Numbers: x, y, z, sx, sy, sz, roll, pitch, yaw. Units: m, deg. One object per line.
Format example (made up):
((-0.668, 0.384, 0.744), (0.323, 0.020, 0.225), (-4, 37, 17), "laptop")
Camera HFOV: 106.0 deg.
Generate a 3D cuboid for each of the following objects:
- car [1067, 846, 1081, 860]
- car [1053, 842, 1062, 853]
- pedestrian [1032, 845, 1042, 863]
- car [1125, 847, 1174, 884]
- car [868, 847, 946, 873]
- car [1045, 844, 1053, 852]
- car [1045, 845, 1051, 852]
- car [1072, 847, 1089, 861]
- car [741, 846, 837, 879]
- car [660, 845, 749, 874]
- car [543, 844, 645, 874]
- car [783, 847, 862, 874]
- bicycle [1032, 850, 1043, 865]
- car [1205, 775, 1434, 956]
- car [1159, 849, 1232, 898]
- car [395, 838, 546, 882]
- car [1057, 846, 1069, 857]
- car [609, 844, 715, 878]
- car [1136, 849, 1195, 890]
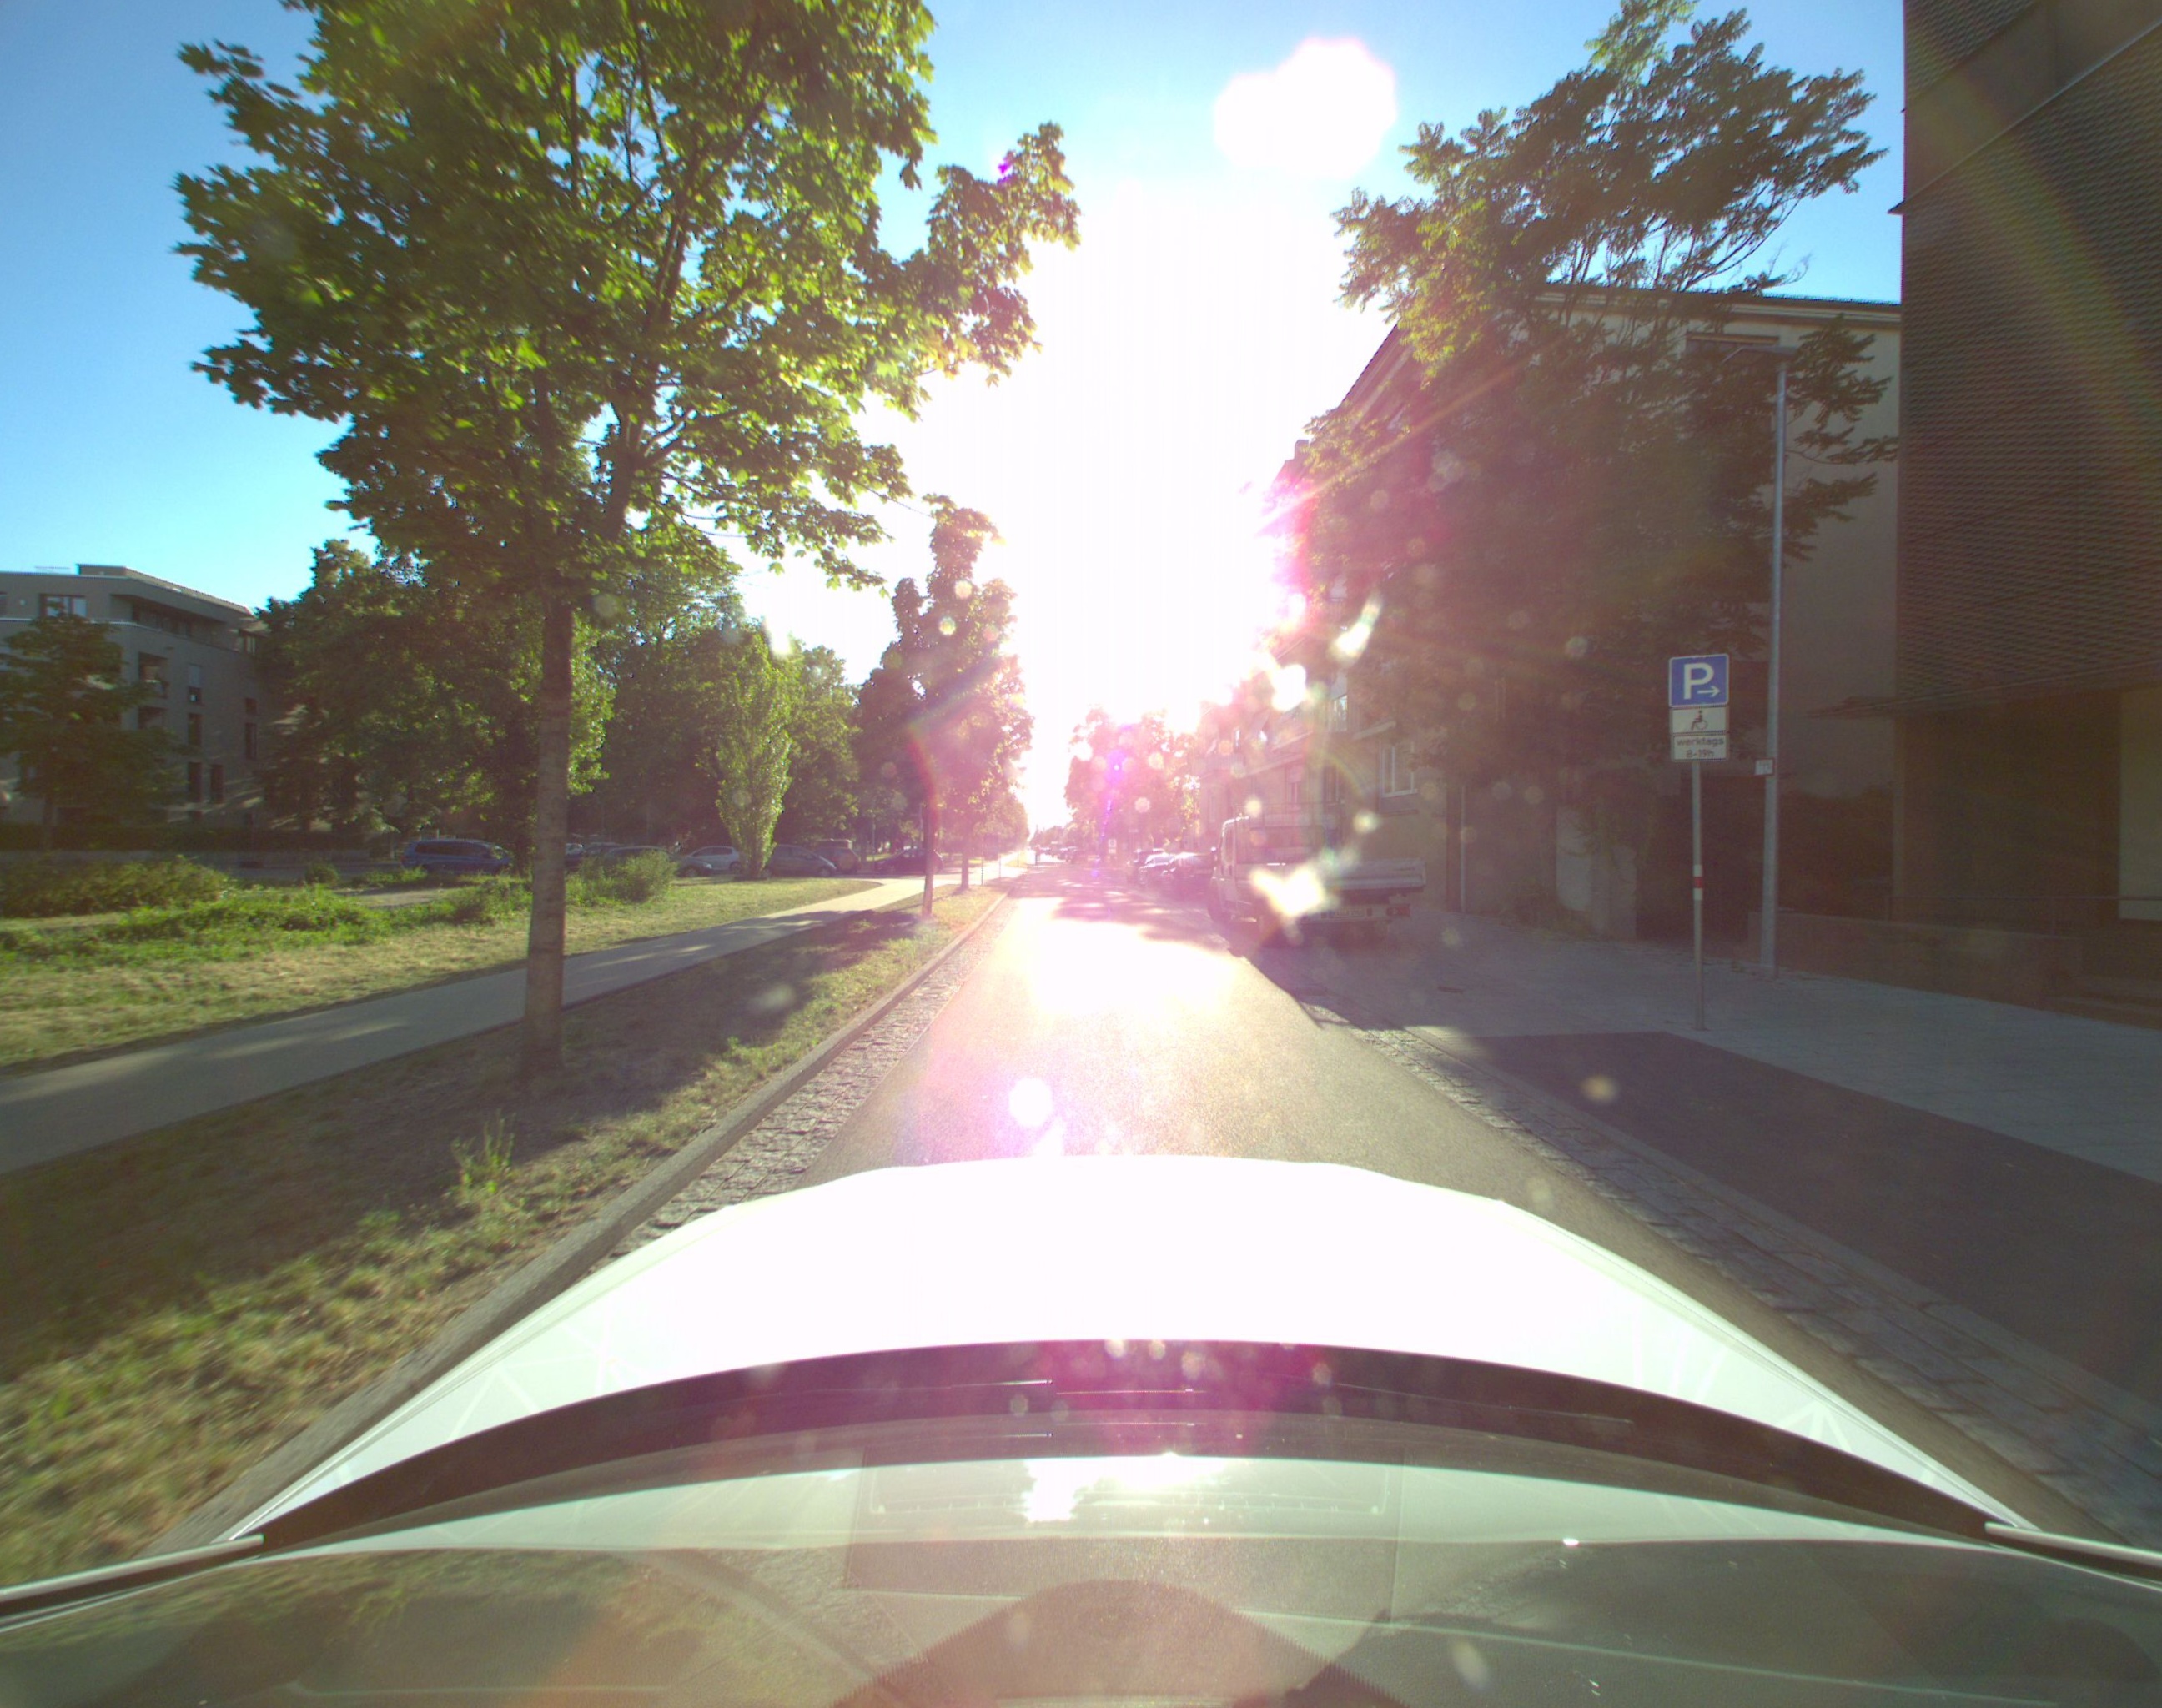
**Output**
((-0.930, -0.169, 103.917), (1.788, 1.724, 3.998), (0, 1, -1), "car")
((-4.510, -1.235, 156.239), (1.788, 1.999, 3.998), (0, 1, -1), "car")
((-3.611, -0.023, 66.701), (0.686, 1.434, 1.025), (0, 0, 1), "pedestrian")
((3.016, 0.466, 36.732), (1.687, 1.565, 4.100), (-1, 1, -3), "car")
((-9.818, 0.331, 46.076), (4.011, 1.420, 1.755), (0, 1, -29), "car")
((-7.820, -1.458, 197.795), (1.988, 1.969, 3.997), (1, 0, -2), "car")
((-10.093, -1.733, 249.695), (1.988, 1.969, 3.997), (1, 0, -2), "car")
((-0.006, 0.013, 89.865), (1.787, 1.510, 4.002), (1, 1, 1), "car")
((-13.561, 0.371, 37.813), (4.010, 1.420, 1.756), (0, 1, -28), "car")
((-19.072, 0.269, 41.419), (4.004, 1.420, 1.758), (0, 1, -24), "car")
((-23.479, 0.221, 39.426), (4.004, 1.420, 1.758), (0, 1, -24), "car")
((-14.008, 0.338, 44.157), (3.932, 1.420, 1.757), (0, 1, -25), "car")
((-3.586, 0.274, 66.668), (0.686, 1.202, 2.344), (1, 1, 2), "bicycle")
((3.906, 0.127, 14.795), (2.205, 2.530, 6.145), (-2, 1, -1), "car")
((3.570, 0.568, 25.981), (1.687, 1.440, 3.547), (-1, 1, -3), "car")
((-24.419, 0.211, 32.783), (4.548, 1.686, 1.758), (0, 0, -23), "car")
((-2.605, -0.337, 119.417), (1.788, 1.510, 3.998), (0, 1, -1), "car")
((-18.181, 0.295, 35.519), (4.008, 1.420, 1.757), (0, 1, -26), "car")
((3.191, 0.529, 31.442), (1.687, 1.440, 4.100), (-1, 1, -3), "car")
